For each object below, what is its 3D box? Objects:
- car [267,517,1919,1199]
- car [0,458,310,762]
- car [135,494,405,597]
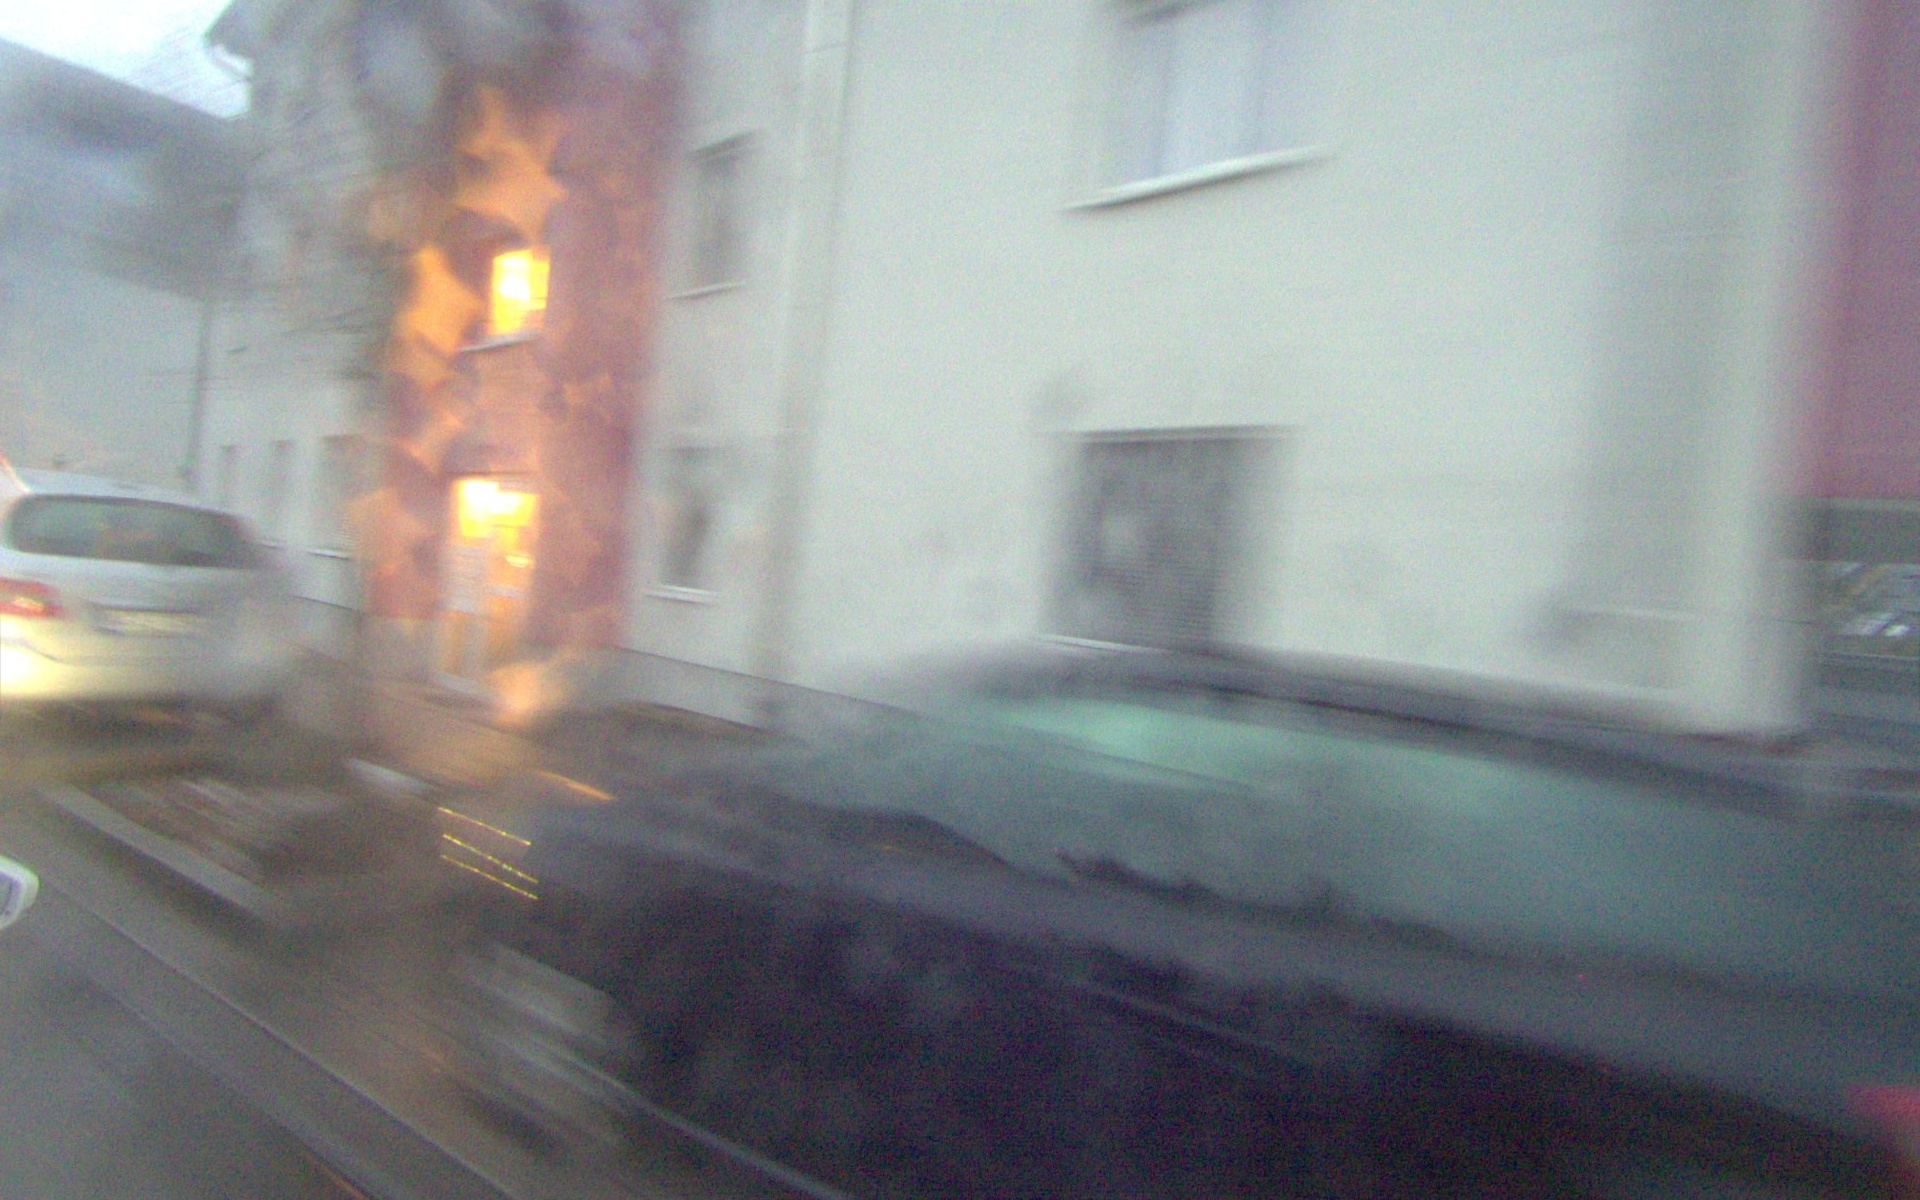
[{"bbox_3d":[0.213,0.742,2.672,4.120,1.470,1.704,7,1,30],"label":"car"},{"bbox_3d":[-6.561,-0.116,6.949,4.422,1.596,1.666,7,1,32],"label":"car"},{"bbox_3d":[-13.912,-1.067,20.470,1.837,1.575,4.140,6,1,40],"label":"car"}]
